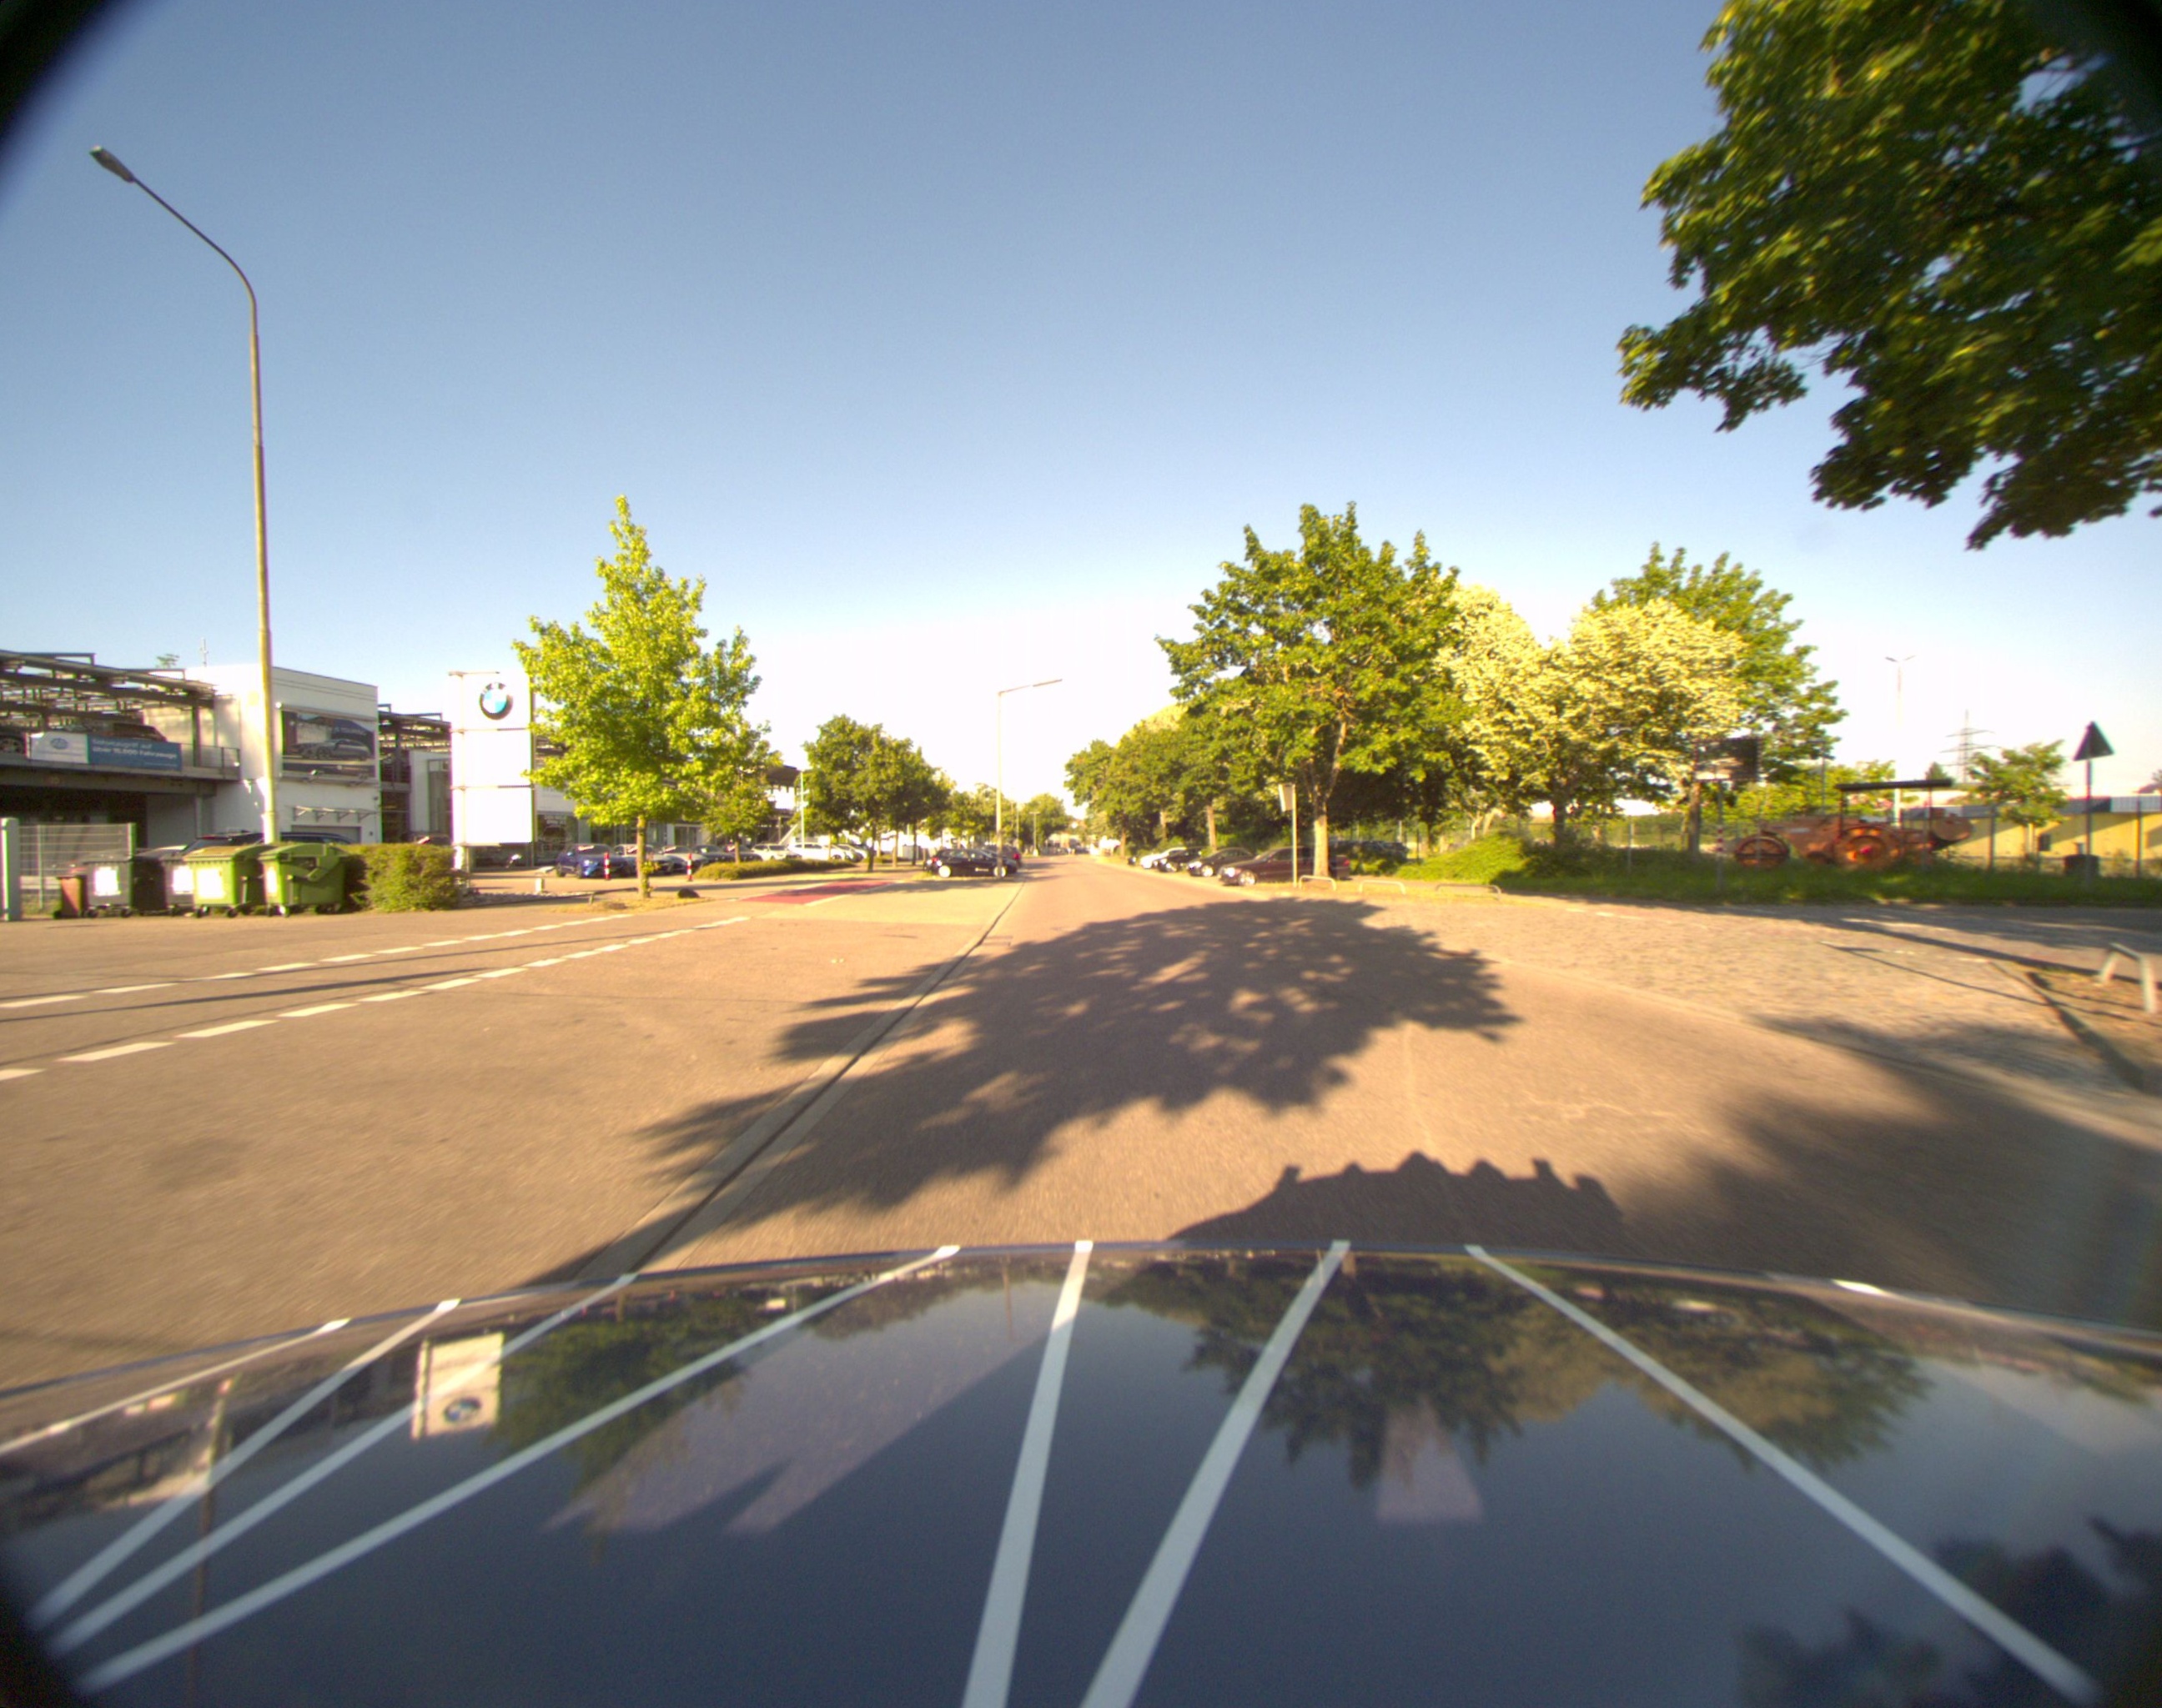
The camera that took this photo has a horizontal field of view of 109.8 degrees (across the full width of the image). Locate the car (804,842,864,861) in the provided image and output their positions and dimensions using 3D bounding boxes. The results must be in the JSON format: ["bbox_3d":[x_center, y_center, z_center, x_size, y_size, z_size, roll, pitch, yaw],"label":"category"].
[{"bbox_3d":[-21.301,-0.242,65.555,4.612,1.565,1.995,-1,2,-31],"label":"car"}]

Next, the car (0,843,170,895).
[{"bbox_3d":[-30.429,0.410,22.108,2.034,1.424,4.564,0,1,12],"label":"car"}]

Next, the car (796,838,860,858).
[{"bbox_3d":[-20.839,-0.497,62.627,4.613,1.565,1.995,1,1,-31],"label":"car"}]

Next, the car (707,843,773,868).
[{"bbox_3d":[-21.275,0.052,47.323,4.775,1.455,2.004,1,1,42],"label":"car"}]

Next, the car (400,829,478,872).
[{"bbox_3d":[-31.439,-0.165,37.172,4.170,2.002,2.004,0,1,37],"label":"car"}]

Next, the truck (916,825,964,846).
[{"bbox_3d":[-24.459,-3.141,131.804,8.230,3.502,3.121,1,1,32],"label":"truck"}]

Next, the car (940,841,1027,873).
[{"bbox_3d":[-5.522,0.148,43.577,4.706,1.741,2.191,0,1,0],"label":"car"}]

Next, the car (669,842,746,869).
[{"bbox_3d":[-21.238,0.051,43.171,4.775,1.455,2.004,1,1,37],"label":"car"}]

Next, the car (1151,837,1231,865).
[{"bbox_3d":[6.755,-0.184,46.917,4.492,1.522,1.999,-2,1,-4],"label":"car"}]

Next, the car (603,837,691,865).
[{"bbox_3d":[-28.838,-0.219,50.635,4.794,1.764,1.996,0,1,-20],"label":"car"}]

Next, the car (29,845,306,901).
[{"bbox_3d":[-25.595,0.458,21.592,2.034,1.424,4.564,0,1,12],"label":"car"}]

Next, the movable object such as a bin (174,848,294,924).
[{"bbox_3d":[-17.036,0.623,15.318,1.213,1.475,1.038,0,1,3],"label":"movable object such as a bin"}]

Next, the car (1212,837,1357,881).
[{"bbox_3d":[7.833,0.162,29.517,5.049,1.454,1.999,-2,1,-4],"label":"car"}]

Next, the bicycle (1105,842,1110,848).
[{"bbox_3d":[4.695,-1.661,135.166,0.768,1.033,2.216,-1,1,-4],"label":"bicycle"}]

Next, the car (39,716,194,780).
[{"bbox_3d":[-39.030,-4.240,30.801,4.195,2.089,2.001,-3,0,8],"label":"car"}]

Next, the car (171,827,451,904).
[{"bbox_3d":[-20.521,0.237,20.656,2.034,1.817,4.980,0,1,12],"label":"car"}]

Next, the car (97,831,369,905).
[{"bbox_3d":[-23.127,0.303,21.058,2.034,1.817,4.564,0,1,12],"label":"car"}]

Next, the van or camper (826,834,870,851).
[{"bbox_3d":[-43.853,-2.167,143.049,8.118,3.310,2.418,0,1,23],"label":"van or camper"}]

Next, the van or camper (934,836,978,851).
[{"bbox_3d":[-23.719,-1.981,143.772,7.989,2.883,2.948,1,1,27],"label":"van or camper"}]

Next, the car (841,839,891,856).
[{"bbox_3d":[-22.149,-0.706,78.406,4.613,1.657,1.995,1,1,-30],"label":"car"}]

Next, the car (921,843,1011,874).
[{"bbox_3d":[-6.030,0.228,40.139,4.493,1.542,2.033,0,1,-2],"label":"car"}]

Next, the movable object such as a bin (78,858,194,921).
[{"bbox_3d":[-19.909,0.734,16.041,1.120,1.261,1.038,0,1,3],"label":"movable object such as a bin"}]

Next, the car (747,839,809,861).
[{"bbox_3d":[-21.830,-0.311,54.600,5.175,1.562,2.004,1,1,42],"label":"car"}]

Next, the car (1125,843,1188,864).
[{"bbox_3d":[5.956,-0.049,60.248,4.663,1.413,1.915,-2,1,-6],"label":"car"}]

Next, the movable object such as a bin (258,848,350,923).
[{"bbox_3d":[-15.317,0.605,14.991,0.846,1.408,1.040,-2,0,29],"label":"movable object such as a bin"}]

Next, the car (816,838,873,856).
[{"bbox_3d":[-21.379,-0.610,68.798,4.613,1.565,1.995,1,1,-31],"label":"car"}]

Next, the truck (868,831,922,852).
[{"bbox_3d":[-33.622,-2.199,137.027,10.090,3.623,3.302,1,1,31],"label":"truck"}]

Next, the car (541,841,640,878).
[{"bbox_3d":[-20.846,0.172,32.241,4.775,1.455,2.004,1,1,37],"label":"car"}]

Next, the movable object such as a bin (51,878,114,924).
[{"bbox_3d":[-21.006,0.976,15.986,0.506,0.916,0.604,0,1,6],"label":"movable object such as a bin"}]

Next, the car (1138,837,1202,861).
[{"bbox_3d":[6.352,-0.381,54.555,4.298,1.522,1.999,-2,1,-3],"label":"car"}]

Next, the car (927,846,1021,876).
[{"bbox_3d":[-5.242,0.324,37.900,4.494,1.396,2.032,0,1,-4],"label":"car"}]

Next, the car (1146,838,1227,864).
[{"bbox_3d":[6.827,-0.213,49.432,4.864,1.522,1.998,-2,1,-7],"label":"car"}]

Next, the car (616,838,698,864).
[{"bbox_3d":[-29.754,-0.235,53.487,4.794,1.764,1.996,0,1,-20],"label":"car"}]

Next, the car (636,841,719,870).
[{"bbox_3d":[-20.973,0.038,39.426,4.775,1.455,2.004,1,1,37],"label":"car"}]

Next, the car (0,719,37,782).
[{"bbox_3d":[-40.105,-3.772,26.267,1.997,2.089,4.204,-3,0,8],"label":"car"}]

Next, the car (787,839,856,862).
[{"bbox_3d":[-20.457,-0.298,59.969,4.737,1.681,2.405,1,1,-31],"label":"car"}]

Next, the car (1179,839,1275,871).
[{"bbox_3d":[7.526,0.021,39.347,4.492,1.454,1.999,-2,1,-4],"label":"car"}]

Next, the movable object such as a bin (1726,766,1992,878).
[{"bbox_3d":[20.747,-0.787,20.465,2.169,2.649,4.790,-1,1,-39],"label":"movable object such as a bin"}]

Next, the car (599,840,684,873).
[{"bbox_3d":[-20.761,0.090,35.804,4.775,1.455,2.051,1,2,42],"label":"car"}]

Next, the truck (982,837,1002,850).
[{"bbox_3d":[-18.951,-2.254,162.299,2.542,2.704,5.977,0,1,13],"label":"truck"}]
